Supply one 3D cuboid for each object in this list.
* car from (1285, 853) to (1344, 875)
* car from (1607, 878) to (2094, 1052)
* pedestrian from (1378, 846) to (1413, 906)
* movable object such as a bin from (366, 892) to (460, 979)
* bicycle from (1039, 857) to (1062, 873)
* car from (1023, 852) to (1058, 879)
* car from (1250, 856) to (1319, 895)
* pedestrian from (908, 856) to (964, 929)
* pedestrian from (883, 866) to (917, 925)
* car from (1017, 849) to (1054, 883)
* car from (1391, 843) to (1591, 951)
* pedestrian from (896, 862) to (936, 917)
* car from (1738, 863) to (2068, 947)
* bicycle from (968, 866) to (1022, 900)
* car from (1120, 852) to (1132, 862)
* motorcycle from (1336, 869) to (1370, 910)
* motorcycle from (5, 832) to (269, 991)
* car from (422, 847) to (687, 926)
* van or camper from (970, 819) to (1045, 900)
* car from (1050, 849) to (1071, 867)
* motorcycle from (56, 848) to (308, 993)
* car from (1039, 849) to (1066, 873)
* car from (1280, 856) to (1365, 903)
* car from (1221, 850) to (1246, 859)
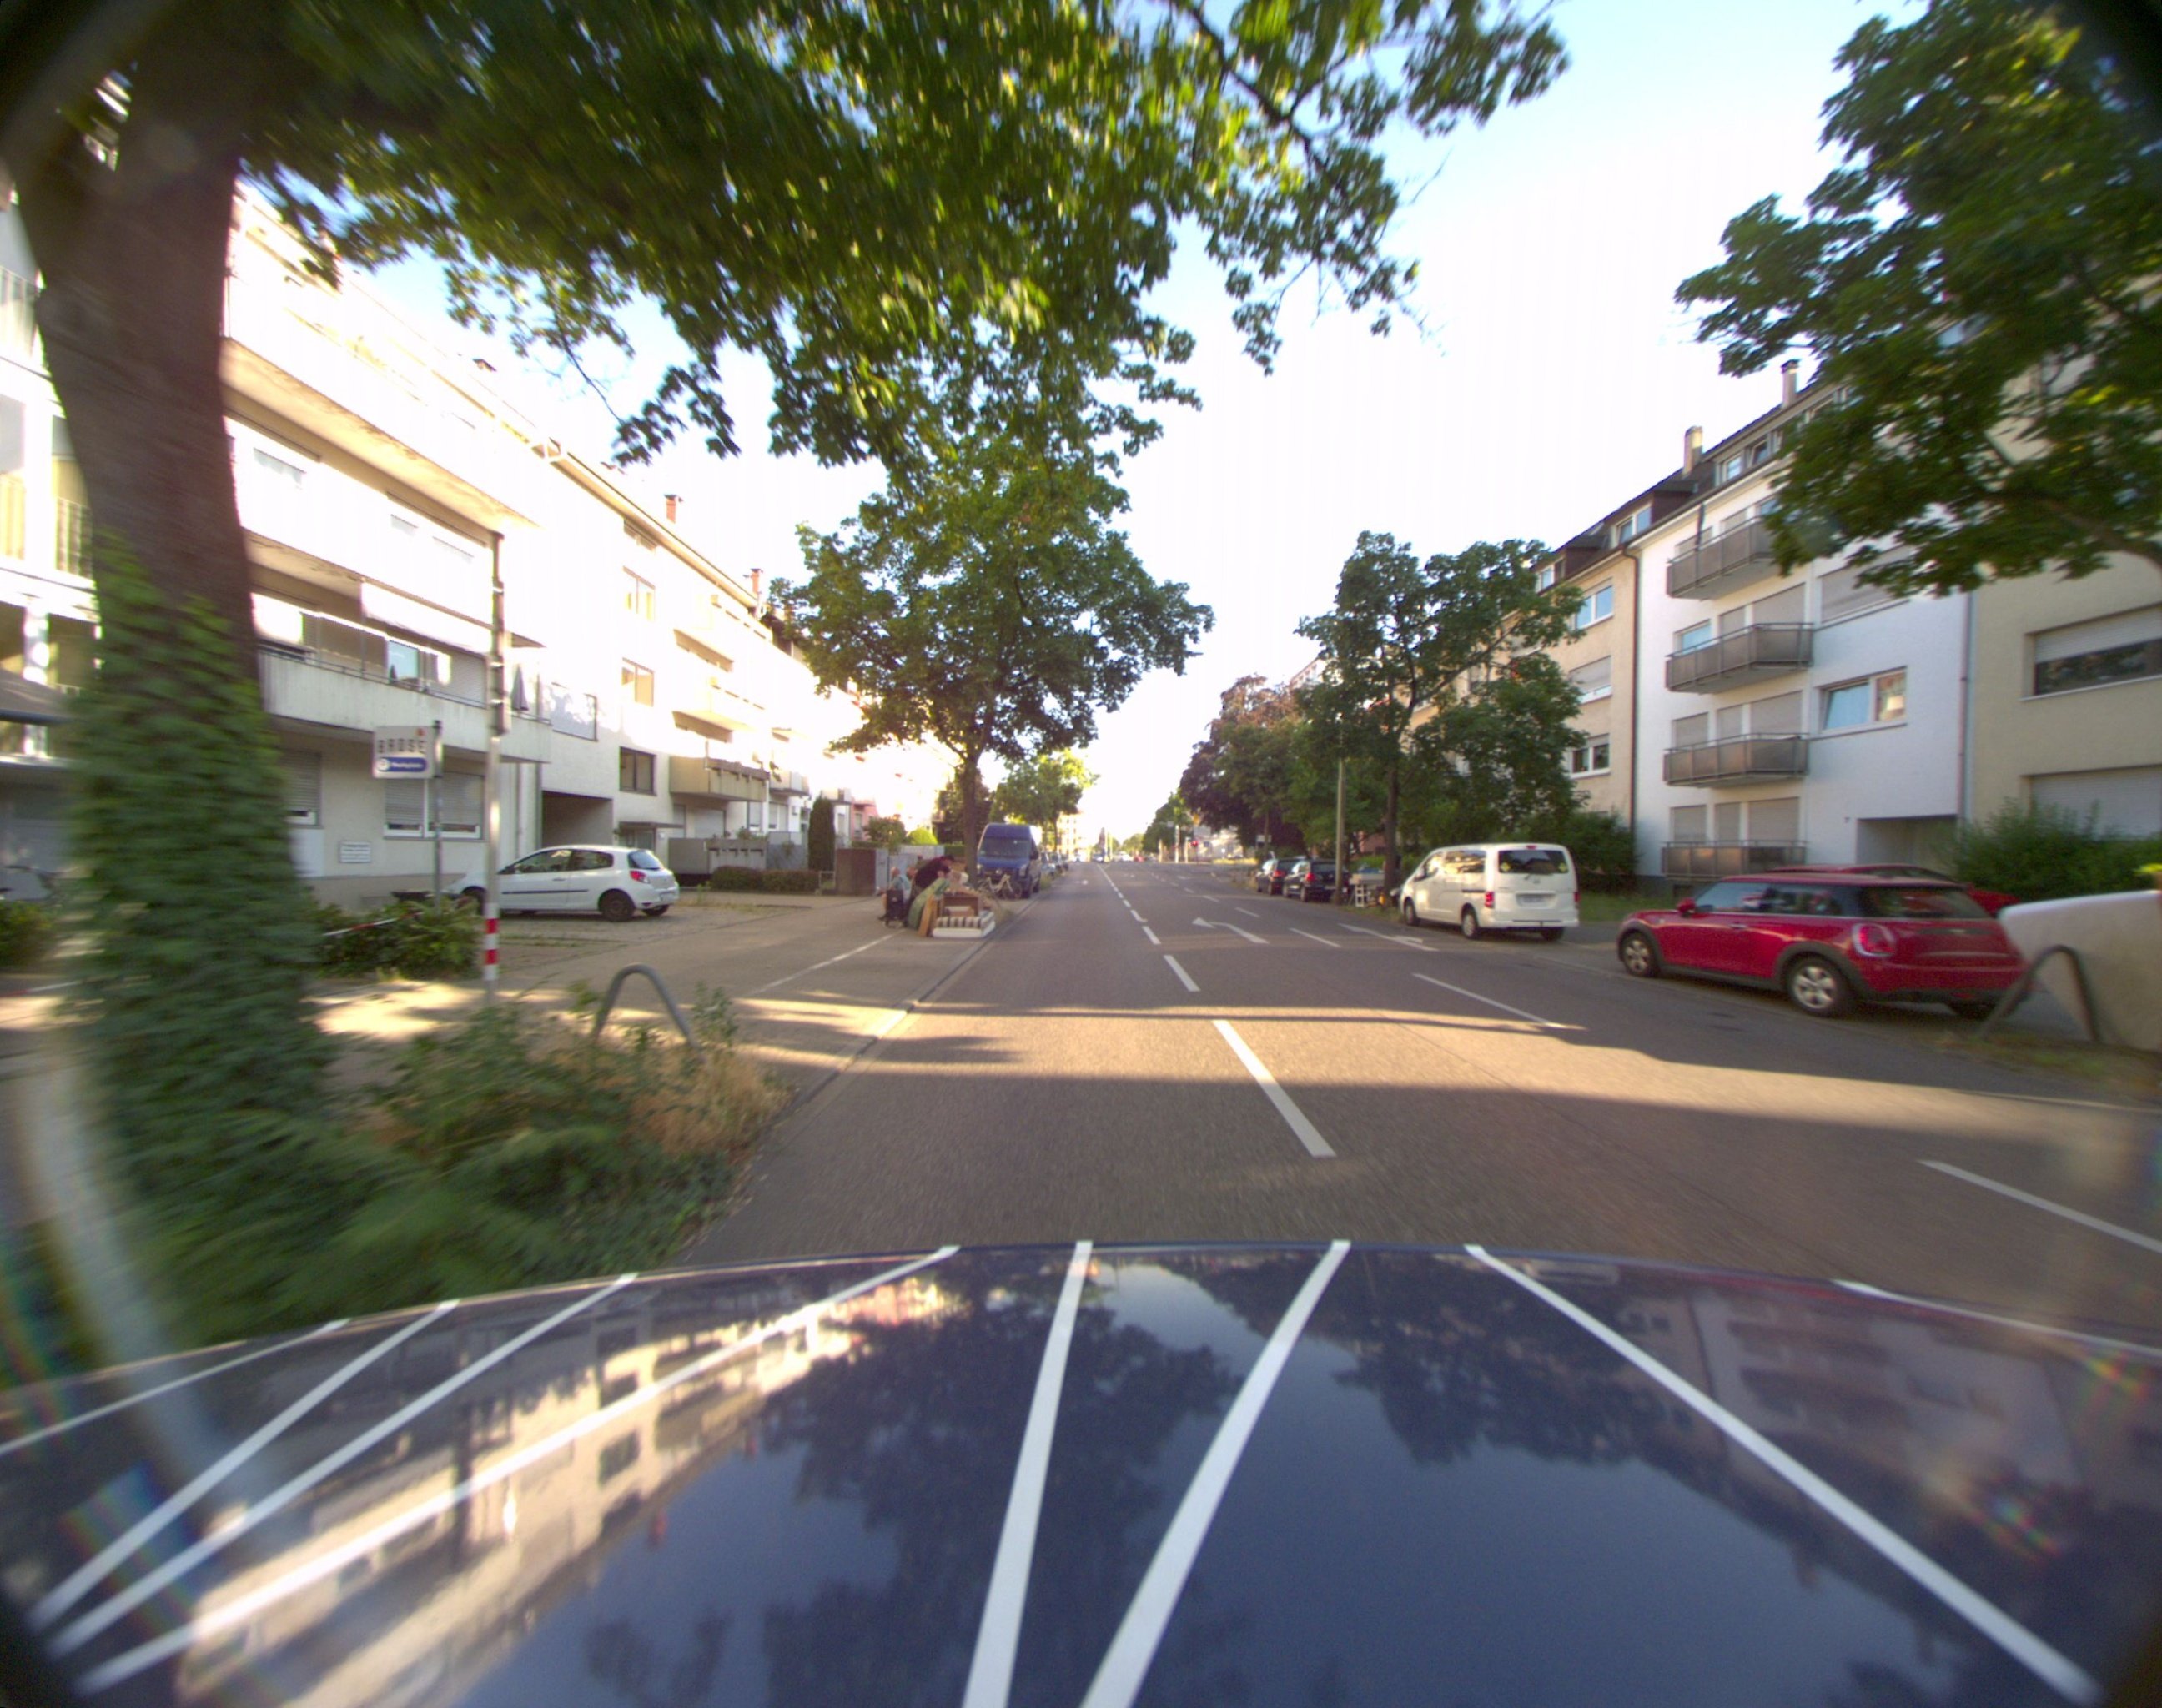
[{"bbox_3d":[16.360,0.670,53.338,3.507,1.477,1.815,0,0,-3],"label":"car"},{"bbox_3d":[8.145,1.046,8.642,1.721,1.412,3.786,0,0,1],"label":"car"},{"bbox_3d":[10.743,0.734,25.997,0.769,2.002,0.976,0,0,0],"label":"pedestrian"},{"bbox_3d":[-7.764,0.934,8.845,0.614,0.944,0.539,0,0,1],"label":"movable object such as a bin"},{"bbox_3d":[-2.029,0.718,50.795,1.482,1.053,0.411,0,1,-12],"label":"bicycle"},{"bbox_3d":[-2.339,0.616,44.505,1.925,1.477,4.744,0,0,-3],"label":"car"},{"bbox_3d":[8.321,0.834,31.395,1.754,1.494,4.197,0,0,1],"label":"car"},{"bbox_3d":[-3.002,0.782,15.703,1.066,1.468,0.478,0,1,-19],"label":"pedestrian"},{"bbox_3d":[-3.958,0.885,16.602,0.655,1.247,0.656,0,0,-18],"label":"pedestrian"},{"bbox_3d":[-2.326,0.562,39.469,1.777,1.633,3.756,0,1,-1],"label":"car"},{"bbox_3d":[8.207,0.766,15.758,1.774,1.908,4.459,0,0,1],"label":"car"},{"bbox_3d":[-3.864,0.825,17.851,0.799,1.247,0.700,0,0,-2],"label":"pedestrian"},{"bbox_3d":[15.105,0.873,14.058,4.728,1.354,1.998,0,0,-12],"label":"car"},{"bbox_3d":[-2.785,0.946,24.666,1.705,1.083,0.404,0,1,4],"label":"bicycle"},{"bbox_3d":[7.106,0.445,121.128,1.764,1.490,3.708,0,0,1],"label":"car"},{"bbox_3d":[8.398,1.083,23.413,0.440,1.185,1.711,1,0,38],"label":"motorcycle"},{"bbox_3d":[-10.164,0.580,8.213,2.198,1.612,0.731,0,0,7],"label":"motorcycle"},{"bbox_3d":[-10.365,0.615,15.222,3.998,1.453,1.824,0,0,-3],"label":"car"},{"bbox_3d":[-2.546,0.140,27.973,2.073,2.660,5.989,0,1,1],"label":"van or camper"},{"bbox_3d":[-1.795,0.321,68.505,1.737,1.542,3.646,0,0,1],"label":"car"},{"bbox_3d":[-10.756,0.750,9.132,2.198,1.612,0.890,0,0,7],"label":"motorcycle"},{"bbox_3d":[-1.997,0.480,54.787,1.737,1.641,4.291,0,0,1],"label":"car"},{"bbox_3d":[8.367,0.833,26.718,1.754,1.494,3.978,0,0,1],"label":"car"},{"bbox_3d":[25.369,0.094,126.570,3.645,1.437,1.999,0,0,-4],"label":"car"}]
